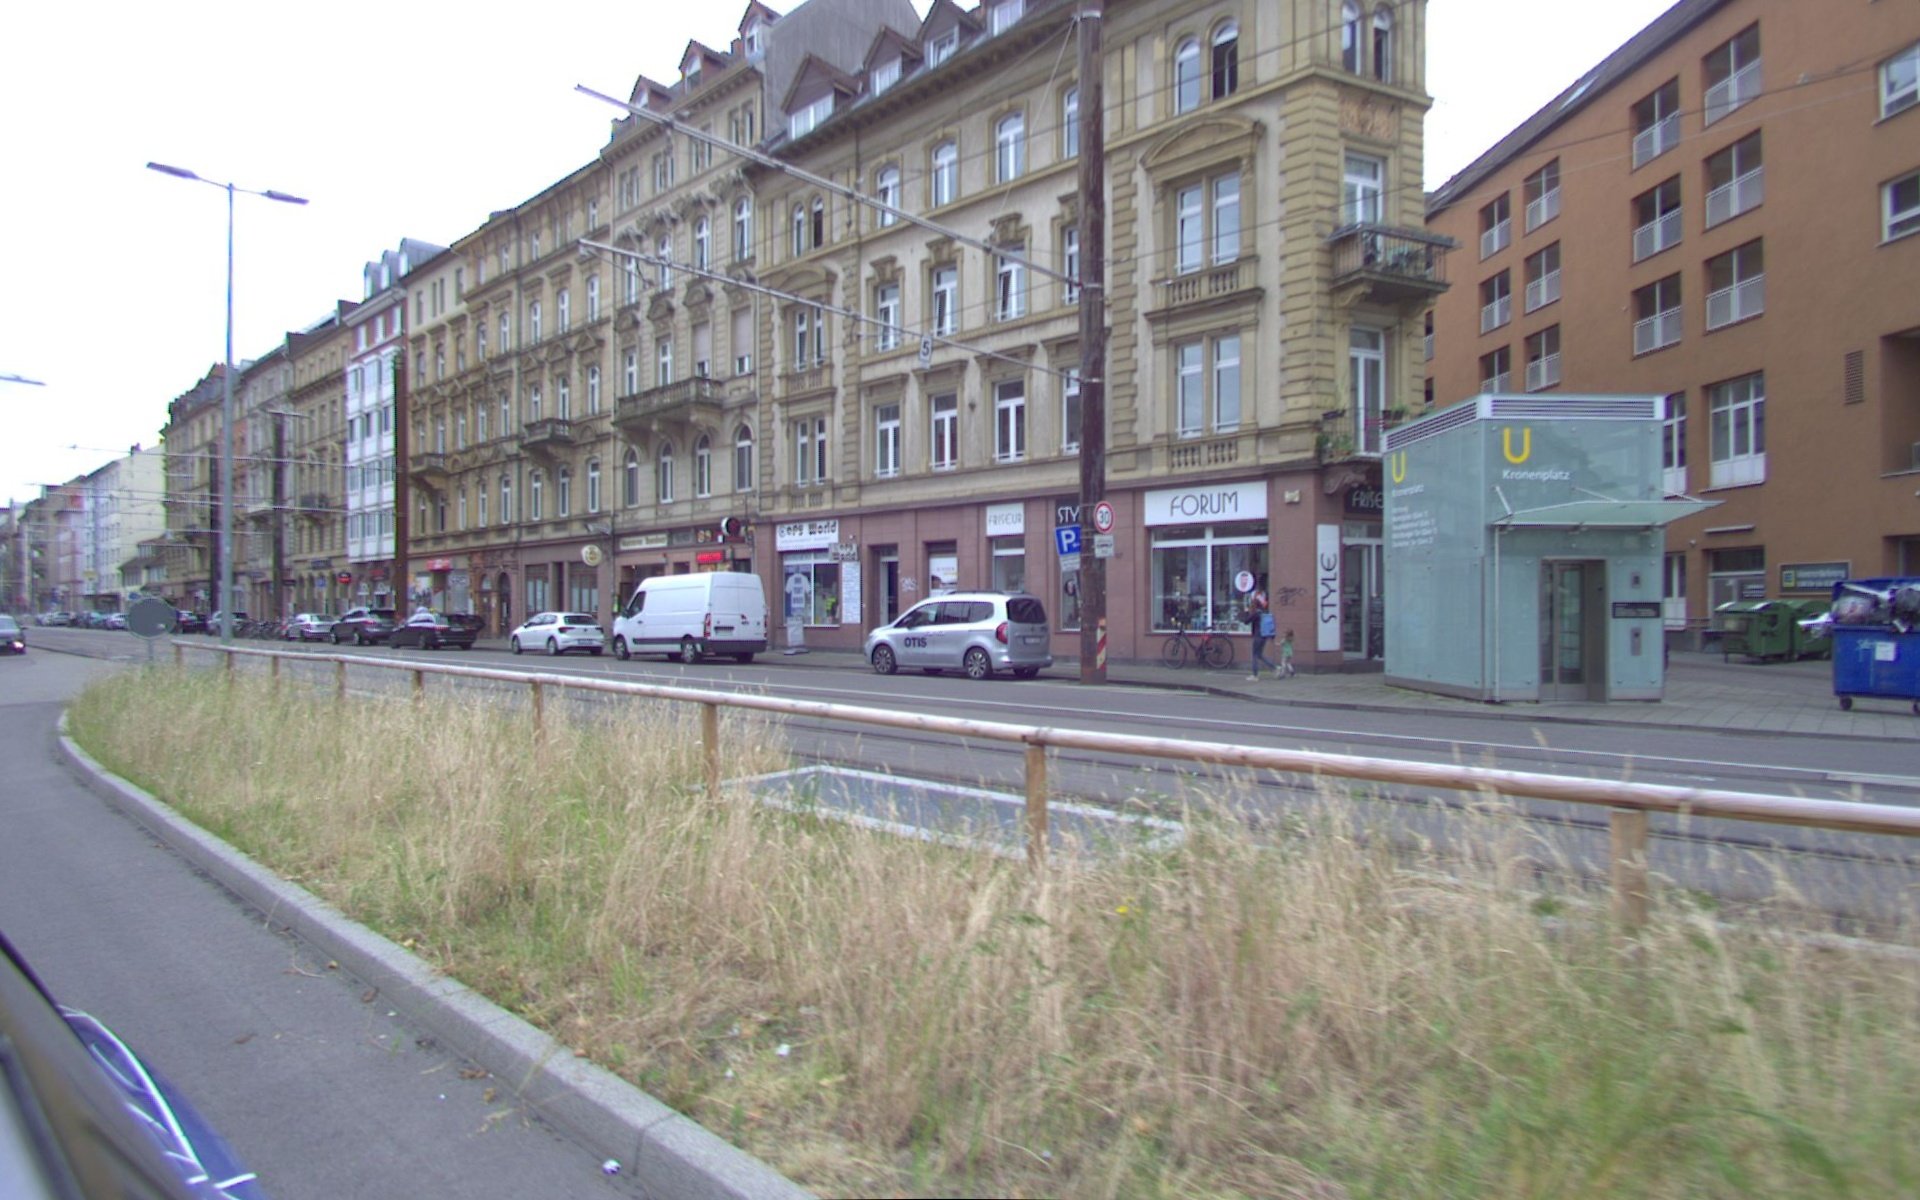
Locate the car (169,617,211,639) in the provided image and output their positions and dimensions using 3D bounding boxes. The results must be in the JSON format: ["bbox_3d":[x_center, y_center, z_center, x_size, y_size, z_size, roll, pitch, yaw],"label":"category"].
[{"bbox_3d":[-54.322,1.961,71.358,3.920,1.500,1.724,-1,-2,43],"label":"car"}]

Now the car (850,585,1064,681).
[{"bbox_3d":[-0.140,0.692,21.922,4.517,1.879,1.883,-1,-2,41],"label":"car"}]

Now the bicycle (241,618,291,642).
[{"bbox_3d":[-40.133,1.741,58.533,0.666,1.339,2.257,-1,-3,42],"label":"bicycle"}]

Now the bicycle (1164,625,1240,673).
[{"bbox_3d":[5.153,1.033,21.662,0.336,0.966,1.690,-1,0,-41],"label":"bicycle"}]

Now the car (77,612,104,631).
[{"bbox_3d":[-86.235,2.130,100.353,3.920,1.770,1.684,-1,-2,44],"label":"car"}]

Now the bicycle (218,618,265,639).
[{"bbox_3d":[-43.723,1.732,61.608,0.547,1.212,2.257,-1,0,42],"label":"bicycle"}]

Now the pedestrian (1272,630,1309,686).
[{"bbox_3d":[6.441,1.122,19.746,0.546,1.038,0.454,-1,0,-40],"label":"pedestrian"}]

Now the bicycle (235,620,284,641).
[{"bbox_3d":[-41.063,1.791,59.371,0.666,1.212,2.257,-1,-3,42],"label":"bicycle"}]

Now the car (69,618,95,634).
[{"bbox_3d":[-93.420,2.761,107.658,4.181,1.684,1.682,-1,0,43],"label":"car"}]

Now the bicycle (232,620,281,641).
[{"bbox_3d":[-41.593,1.790,59.850,0.666,1.212,2.257,-1,-3,42],"label":"bicycle"}]

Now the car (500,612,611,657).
[{"bbox_3d":[-13.761,1.171,34.311,4.162,1.433,1.752,-1,-3,41],"label":"car"}]

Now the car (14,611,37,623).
[{"bbox_3d":[-124.699,2.319,135.045,3.999,1.574,1.843,-1,-2,42],"label":"car"}]

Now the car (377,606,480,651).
[{"bbox_3d":[-21.186,1.138,40.252,5.049,1.702,1.899,-1,-3,41],"label":"car"}]

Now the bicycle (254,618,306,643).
[{"bbox_3d":[-37.552,1.711,55.941,0.666,1.339,2.257,-1,-3,42],"label":"bicycle"}]

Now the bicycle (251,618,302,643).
[{"bbox_3d":[-38.157,1.705,56.507,0.666,1.339,2.257,-1,-3,42],"label":"bicycle"}]

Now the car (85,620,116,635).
[{"bbox_3d":[-82.700,2.666,97.351,3.432,1.391,1.631,-2,-2,39],"label":"car"}]

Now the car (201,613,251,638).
[{"bbox_3d":[-46.814,1.628,64.522,4.224,1.545,1.725,-1,-2,42],"label":"car"}]

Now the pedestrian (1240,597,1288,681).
[{"bbox_3d":[5.860,0.735,19.502,0.546,1.568,0.659,-1,0,-35],"label":"pedestrian"}]

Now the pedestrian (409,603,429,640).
[{"bbox_3d":[-26.992,1.076,50.526,0.644,1.795,0.787,-1,0,-11],"label":"pedestrian"}]

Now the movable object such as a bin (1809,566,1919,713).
[{"bbox_3d":[13.141,0.532,14.292,1.018,1.996,1.619,1,0,-41],"label":"movable object such as a bin"}]

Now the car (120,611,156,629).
[{"bbox_3d":[-68.373,1.644,84.149,4.044,1.476,1.725,-1,-2,42],"label":"car"}]

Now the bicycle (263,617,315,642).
[{"bbox_3d":[-36.194,1.601,54.598,0.521,1.339,2.257,-1,-3,42],"label":"bicycle"}]

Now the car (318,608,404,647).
[{"bbox_3d":[-27.603,1.270,46.566,5.026,1.702,1.795,-1,-2,39],"label":"car"}]

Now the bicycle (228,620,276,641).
[{"bbox_3d":[-42.197,1.801,60.338,0.705,1.212,2.257,-1,-3,42],"label":"bicycle"}]

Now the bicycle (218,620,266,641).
[{"bbox_3d":[-43.308,1.837,61.043,0.705,1.212,2.257,-1,-3,42],"label":"bicycle"}]

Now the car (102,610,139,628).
[{"bbox_3d":[-72.125,1.657,86.929,4.544,1.533,1.804,-2,-2,43],"label":"car"}]

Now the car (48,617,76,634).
[{"bbox_3d":[-101.862,2.869,114.828,3.825,1.745,1.903,-1,0,42],"label":"car"}]

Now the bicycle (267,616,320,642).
[{"bbox_3d":[-35.629,1.564,54.148,0.666,1.339,2.257,-1,-3,42],"label":"bicycle"}]

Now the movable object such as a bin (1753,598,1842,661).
[{"bbox_3d":[19.692,0.666,23.823,0.995,1.416,1.241,-1,0,-7],"label":"movable object such as a bin"}]

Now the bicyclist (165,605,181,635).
[{"bbox_3d":[-50.710,1.283,65.189,1.028,1.897,0.638,-1,0,44],"label":"bicyclist"}]

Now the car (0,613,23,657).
[{"bbox_3d":[-36.014,1.283,37.339,3.648,1.558,1.725,-1,0,41],"label":"car"}]

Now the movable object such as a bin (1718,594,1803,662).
[{"bbox_3d":[18.732,0.636,23.718,0.932,1.512,1.241,-1,0,-7],"label":"movable object such as a bin"}]

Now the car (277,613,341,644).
[{"bbox_3d":[-33.518,1.458,52.068,3.918,1.500,1.725,-1,-2,41],"label":"car"}]

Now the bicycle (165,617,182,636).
[{"bbox_3d":[-50.647,1.686,65.151,2.045,1.183,0.578,-1,-2,44],"label":"bicycle"}]

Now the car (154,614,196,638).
[{"bbox_3d":[-57.664,1.901,74.337,4.044,1.685,1.725,-1,-2,42],"label":"car"}]

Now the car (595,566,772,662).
[{"bbox_3d":[-8.005,0.438,28.972,5.663,2.506,2.031,-1,-3,41],"label":"car"}]
